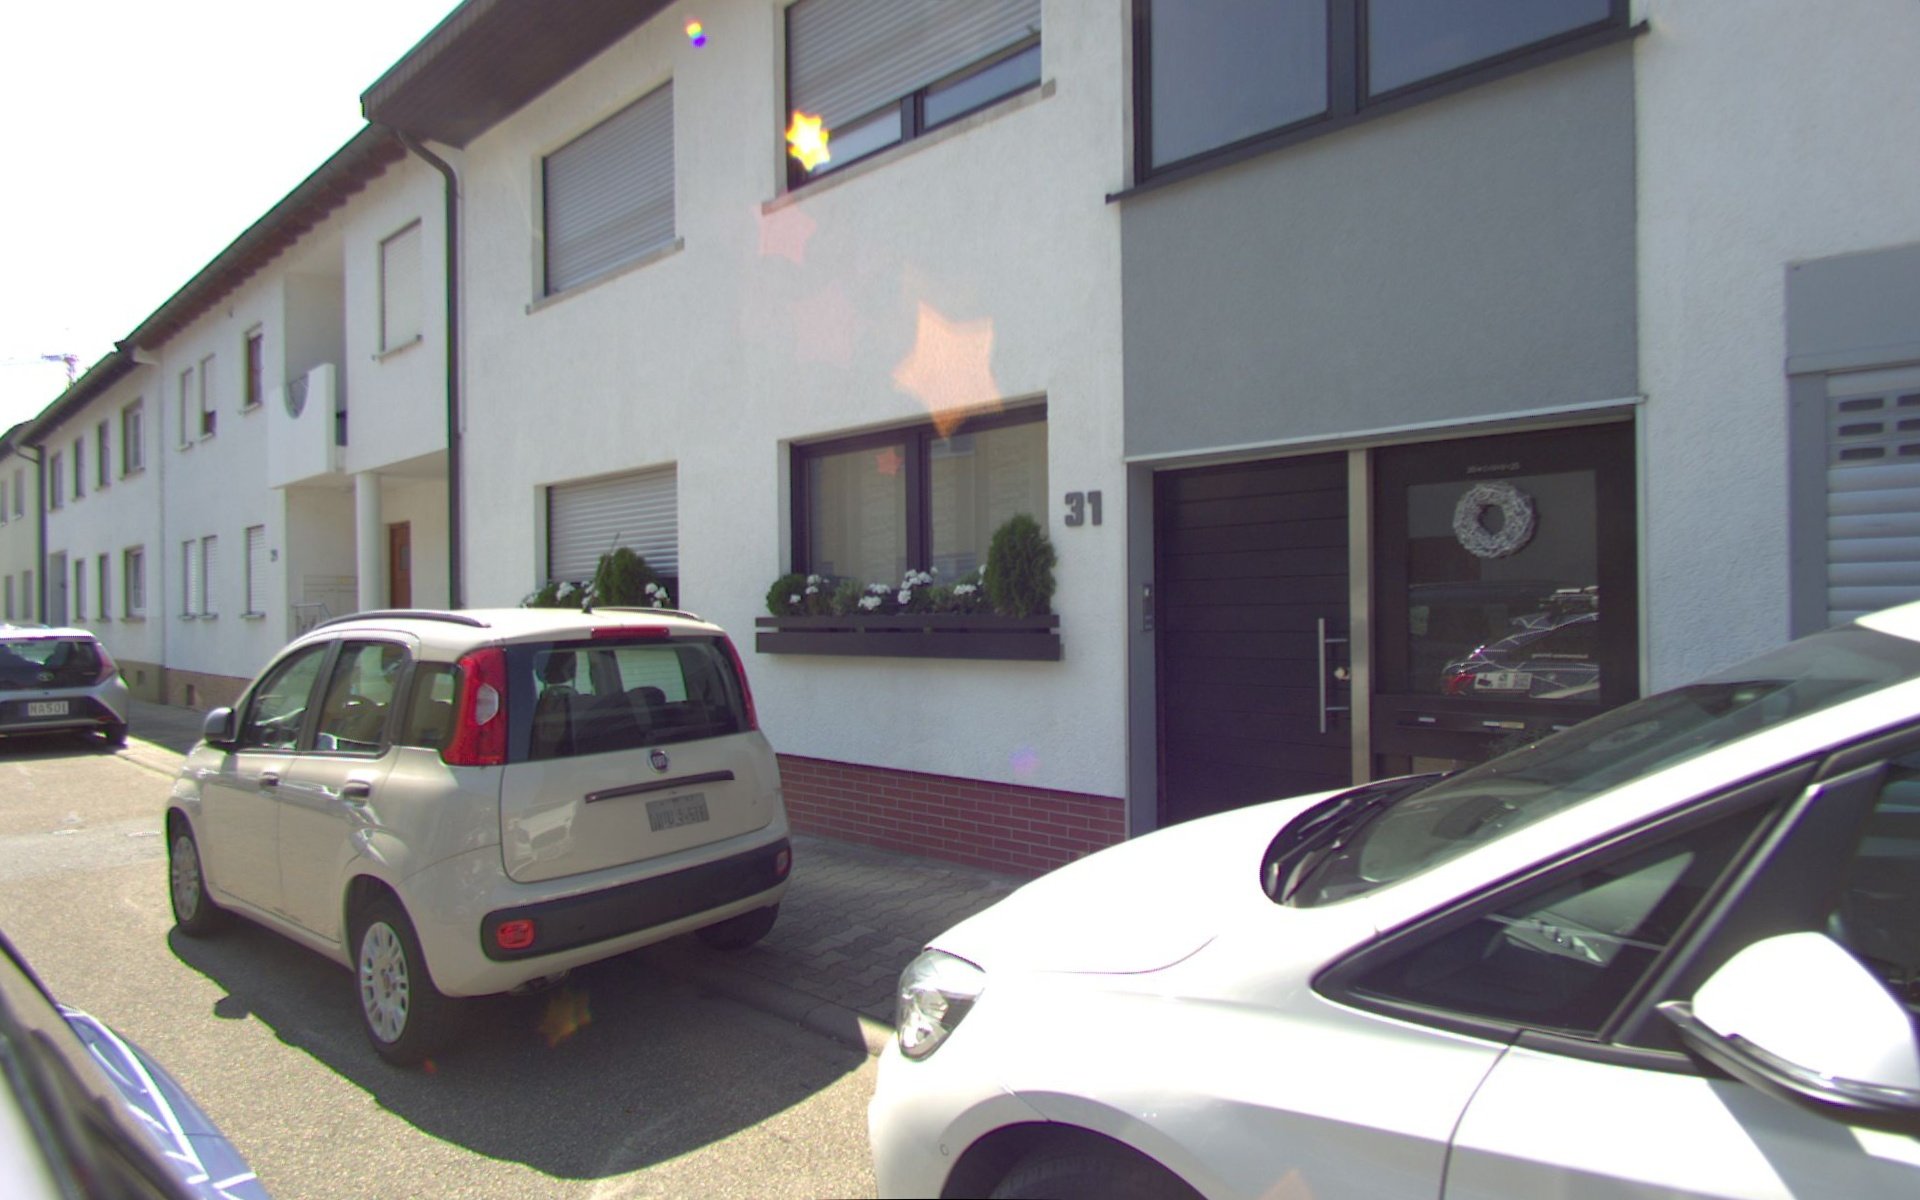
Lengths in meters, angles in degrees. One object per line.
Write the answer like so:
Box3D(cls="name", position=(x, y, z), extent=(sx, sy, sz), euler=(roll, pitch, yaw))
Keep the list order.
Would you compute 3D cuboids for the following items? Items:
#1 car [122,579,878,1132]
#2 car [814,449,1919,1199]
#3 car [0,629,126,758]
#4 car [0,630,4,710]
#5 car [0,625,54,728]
Box3D(cls="car", position=(-2.289, 0.773, 4.663), extent=(3.683, 1.553, 1.647), euler=(-1, -3, 38))
Box3D(cls="car", position=(1.788, 0.635, 1.278), extent=(3.937, 1.561, 1.647), euler=(-2, -2, 38))
Box3D(cls="car", position=(-11.867, 1.113, 12.783), extent=(3.212, 1.454, 1.585), euler=(-2, -2, 42))
Box3D(cls="car", position=(-19.418, 1.316, 19.321), extent=(3.461, 1.466, 1.396), euler=(-1, -2, 42))
Box3D(cls="car", position=(-15.504, 1.165, 16.005), extent=(3.024, 1.540, 1.396), euler=(-1, -2, 42))
